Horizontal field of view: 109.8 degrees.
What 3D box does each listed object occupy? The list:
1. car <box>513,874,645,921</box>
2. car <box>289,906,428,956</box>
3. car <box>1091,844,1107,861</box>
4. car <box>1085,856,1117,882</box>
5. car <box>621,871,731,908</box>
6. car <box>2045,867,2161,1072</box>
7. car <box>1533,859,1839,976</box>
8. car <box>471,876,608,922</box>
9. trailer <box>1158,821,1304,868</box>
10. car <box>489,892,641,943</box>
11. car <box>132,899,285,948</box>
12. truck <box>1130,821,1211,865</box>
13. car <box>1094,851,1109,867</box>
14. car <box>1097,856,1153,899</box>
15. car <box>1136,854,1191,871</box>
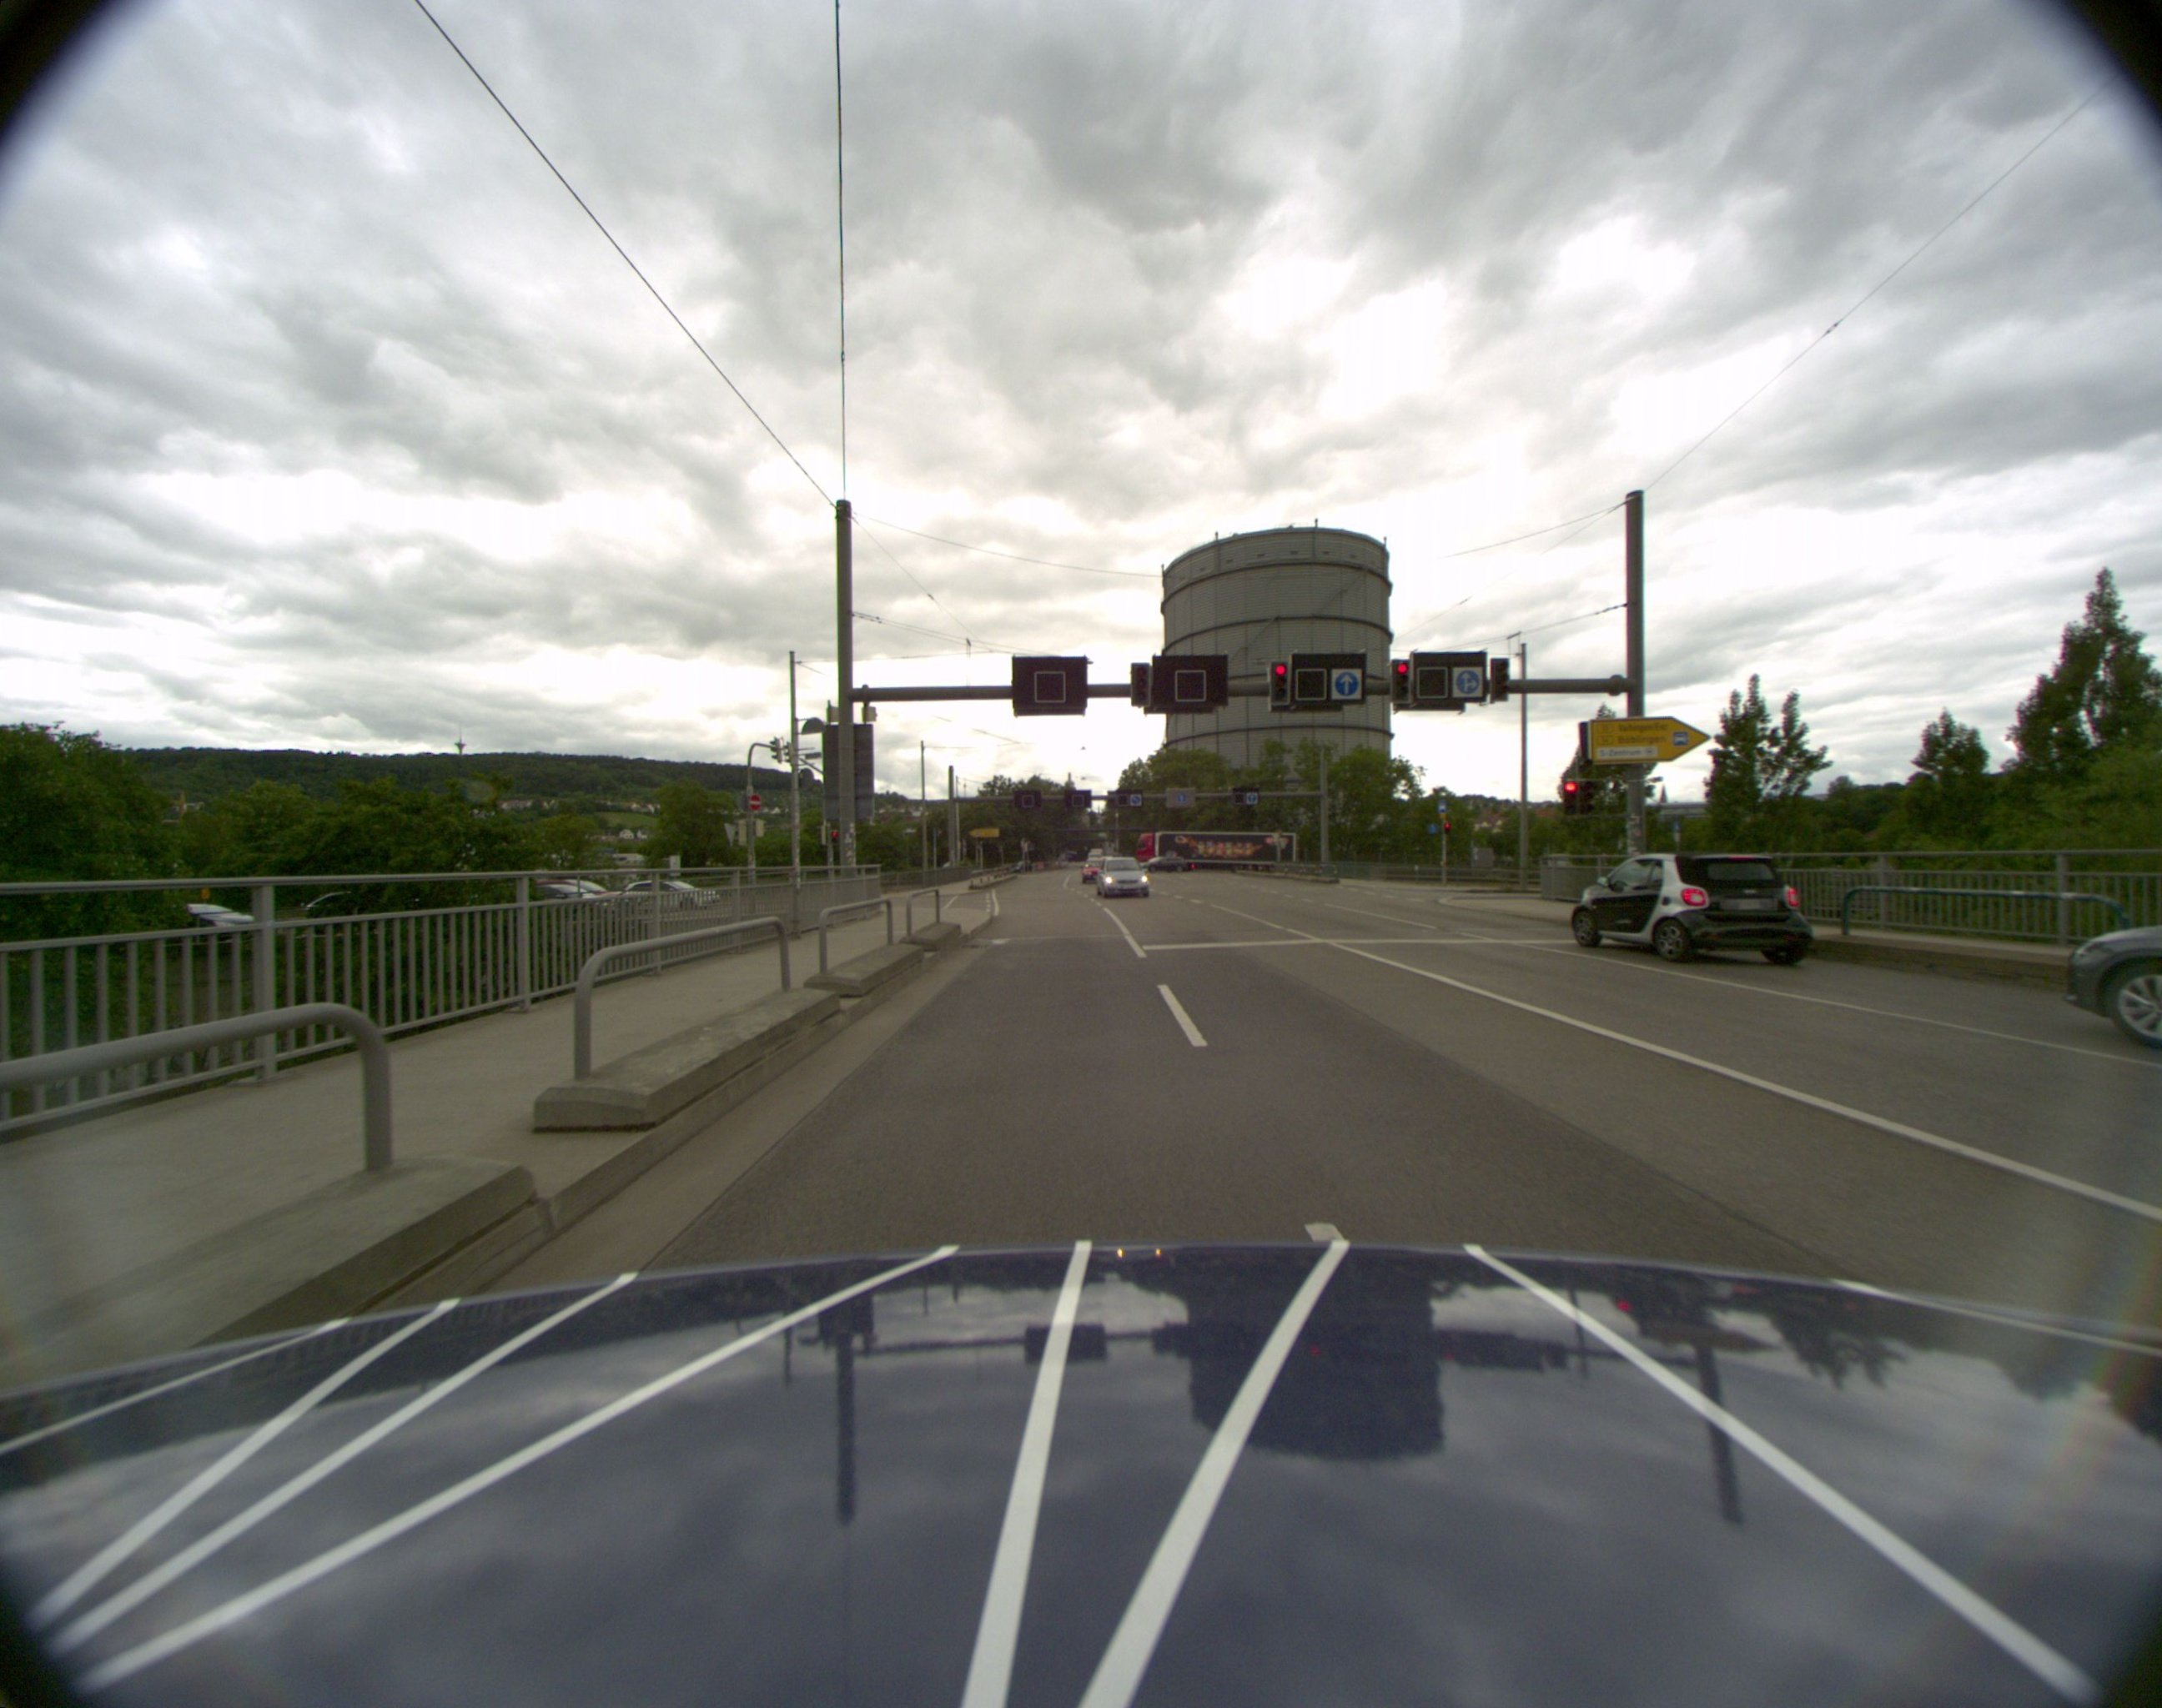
[{"bbox_3d":[-20.060,1.725,30.470,4.006,1.531,1.695,-3,2,-2],"label":"car"},{"bbox_3d":[-27.970,2.957,29.495,3.621,1.531,1.695,-3,1,-2],"label":"car"},{"bbox_3d":[2.687,-0.202,114.438,2.331,2.509,4.948,1,0,1],"label":"car"},{"bbox_3d":[1.136,0.840,44.946,1.747,1.455,3.954,-1,0,0],"label":"car"},{"bbox_3d":[-17.636,1.533,33.246,3.763,1.306,1.790,-3,2,-2],"label":"car"},{"bbox_3d":[8.890,0.850,4.018,1.840,1.495,4.516,0,0,0],"label":"car"},{"bbox_3d":[9.073,0.841,11.893,1.839,1.495,3.872,1,0,3],"label":"car"},{"bbox_3d":[-23.300,1.922,32.815,4.339,1.610,1.999,-3,2,-1],"label":"car"},{"bbox_3d":[14.933,-0.982,75.674,13.749,4.296,3.677,1,0,20],"label":"trailer"},{"bbox_3d":[-18.498,2.266,27.373,4.151,1.412,1.695,-3,2,-3],"label":"car"},{"bbox_3d":[-33.623,2.656,29.366,3.758,1.531,1.695,-3,1,-2],"label":"car"},{"bbox_3d":[9.142,-1.102,78.057,7.213,4.296,3.680,1,0,38],"label":"truck"},{"bbox_3d":[2.757,0.702,101.757,1.933,1.987,4.453,0,-1,0],"label":"car"},{"bbox_3d":[1.718,0.896,30.506,1.748,1.594,3.681,-1,0,-4],"label":"car"},{"bbox_3d":[7.288,0.780,67.163,4.471,1.412,1.695,1,0,-16],"label":"car"}]
